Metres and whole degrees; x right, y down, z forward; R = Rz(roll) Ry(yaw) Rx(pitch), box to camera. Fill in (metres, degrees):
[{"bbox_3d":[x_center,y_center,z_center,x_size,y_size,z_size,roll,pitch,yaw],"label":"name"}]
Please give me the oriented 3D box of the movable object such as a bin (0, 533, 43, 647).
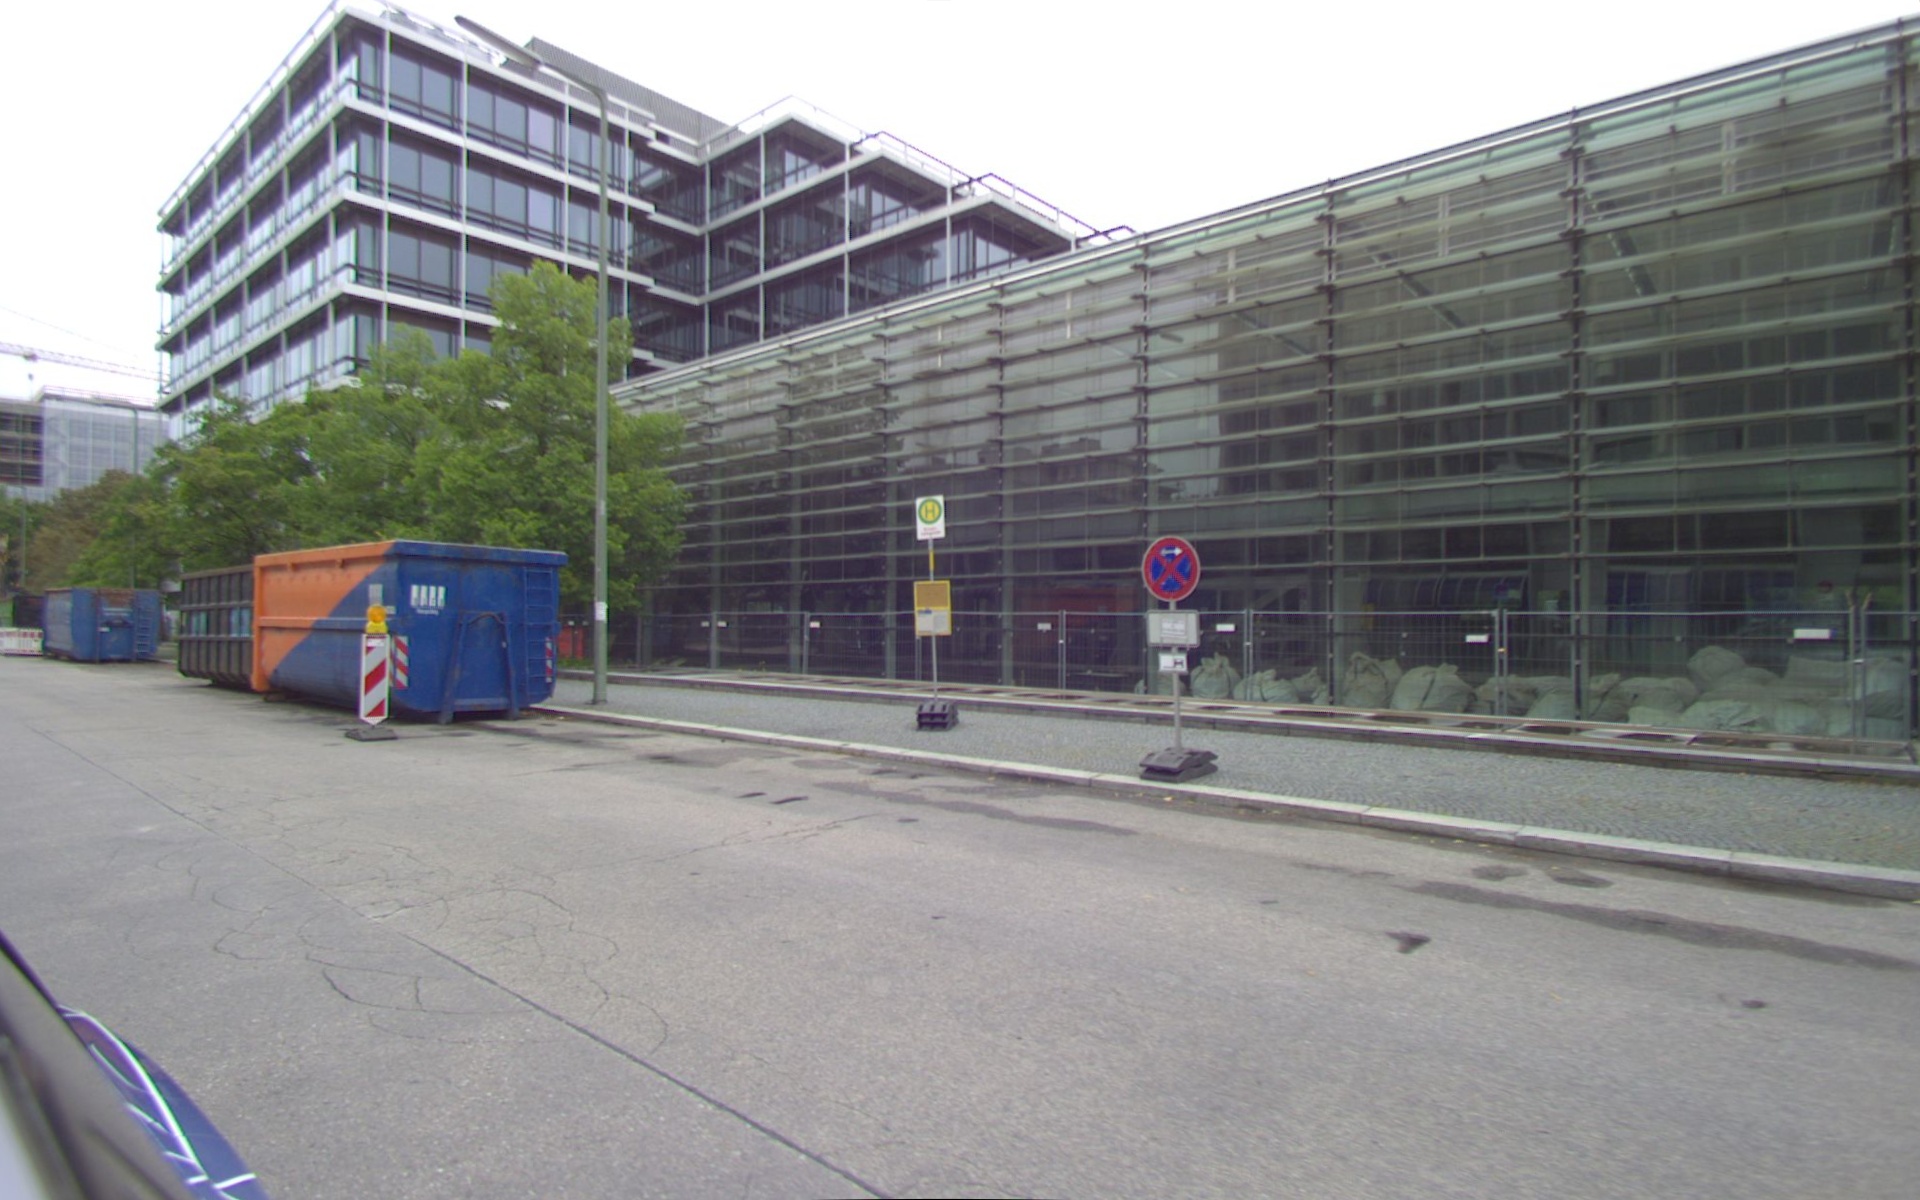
[{"bbox_3d":[-56.491,-0.469,59.481,8.338,6.370,3.198,-1,-2,44],"label":"movable object such as a bin"}]
